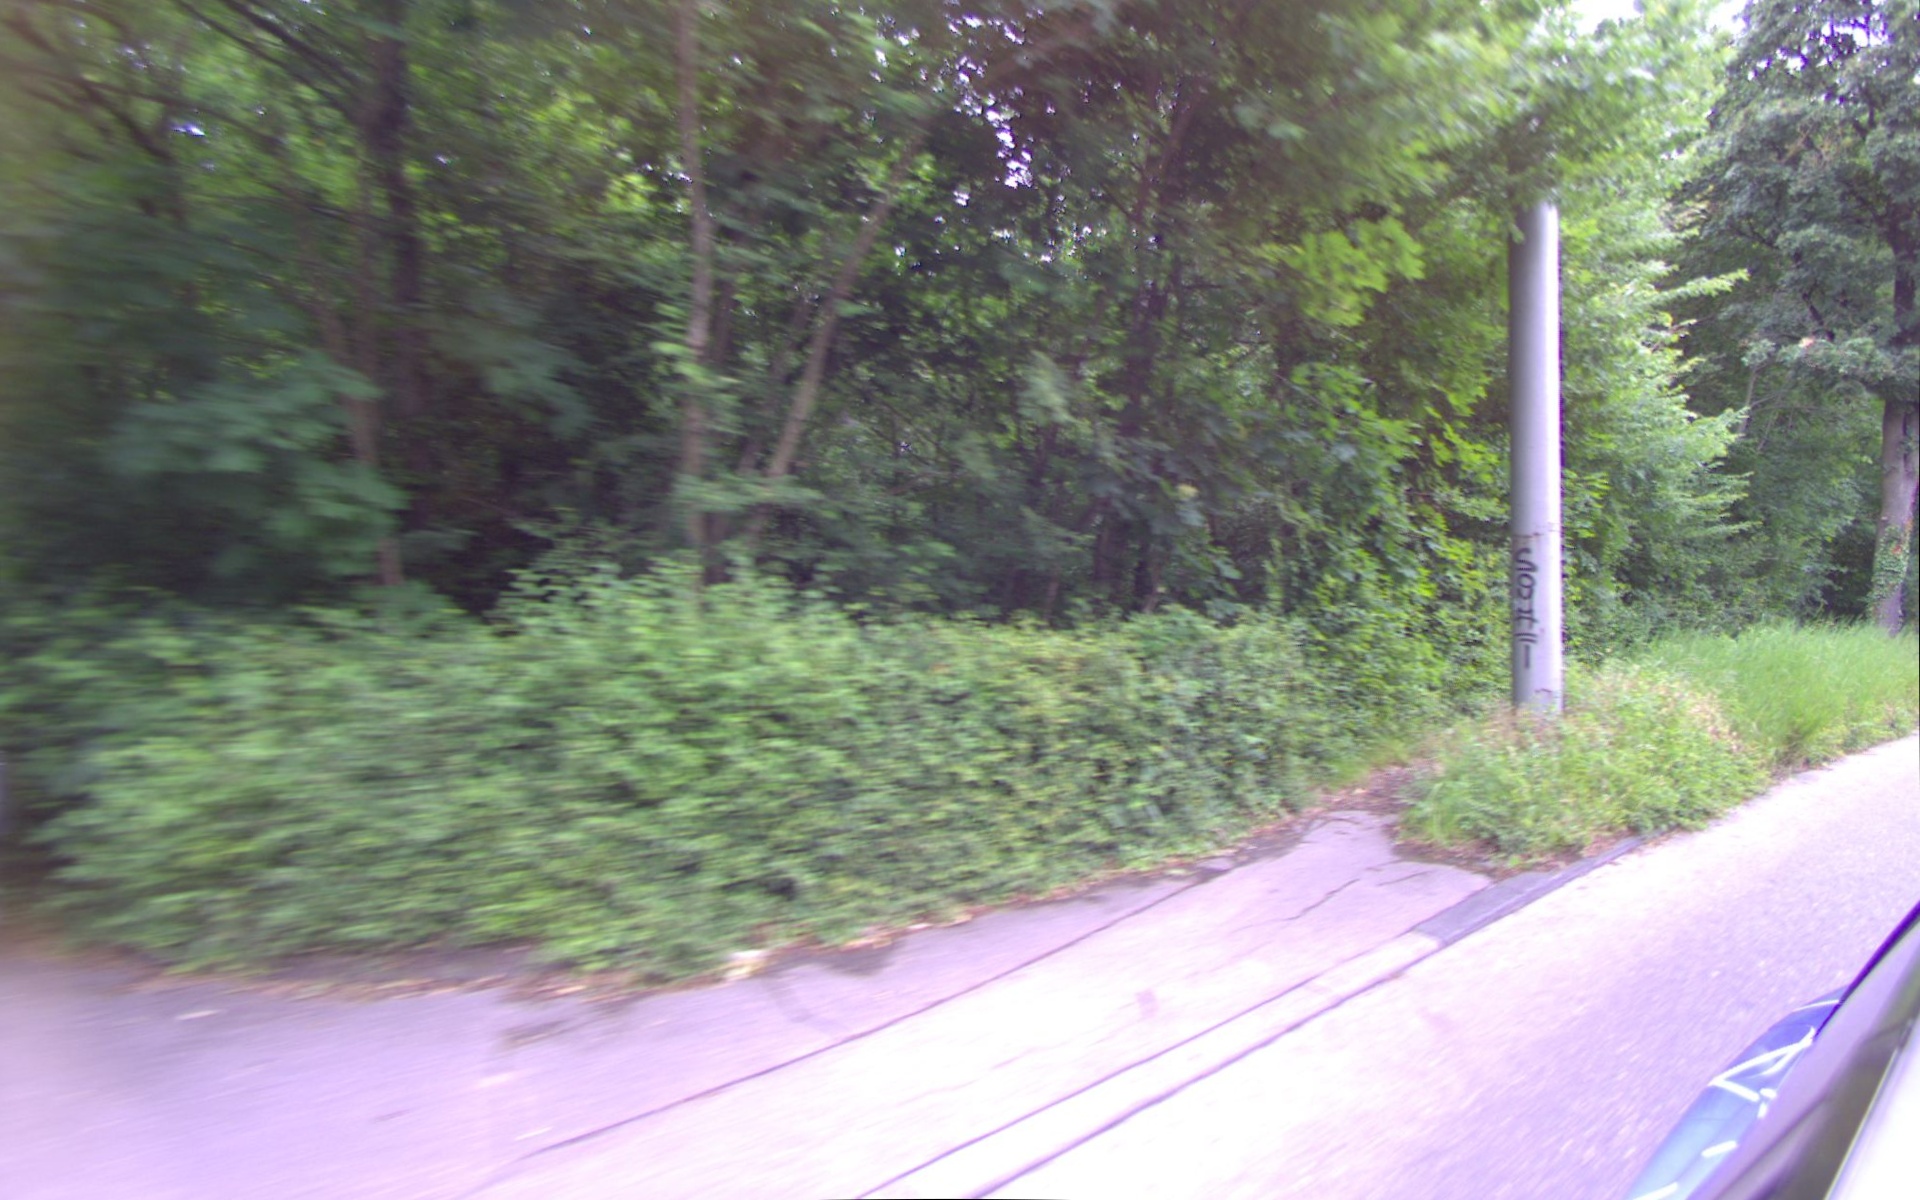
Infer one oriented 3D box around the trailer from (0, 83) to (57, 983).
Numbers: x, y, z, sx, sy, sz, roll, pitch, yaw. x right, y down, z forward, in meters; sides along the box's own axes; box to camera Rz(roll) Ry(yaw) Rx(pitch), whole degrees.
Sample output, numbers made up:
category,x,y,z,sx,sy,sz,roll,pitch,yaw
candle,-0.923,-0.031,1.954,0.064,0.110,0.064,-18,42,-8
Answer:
category,x,y,z,sx,sy,sz,roll,pitch,yaw
trailer,-4.682,-0.280,3.963,1.567,2.935,3.119,0,2,-44
